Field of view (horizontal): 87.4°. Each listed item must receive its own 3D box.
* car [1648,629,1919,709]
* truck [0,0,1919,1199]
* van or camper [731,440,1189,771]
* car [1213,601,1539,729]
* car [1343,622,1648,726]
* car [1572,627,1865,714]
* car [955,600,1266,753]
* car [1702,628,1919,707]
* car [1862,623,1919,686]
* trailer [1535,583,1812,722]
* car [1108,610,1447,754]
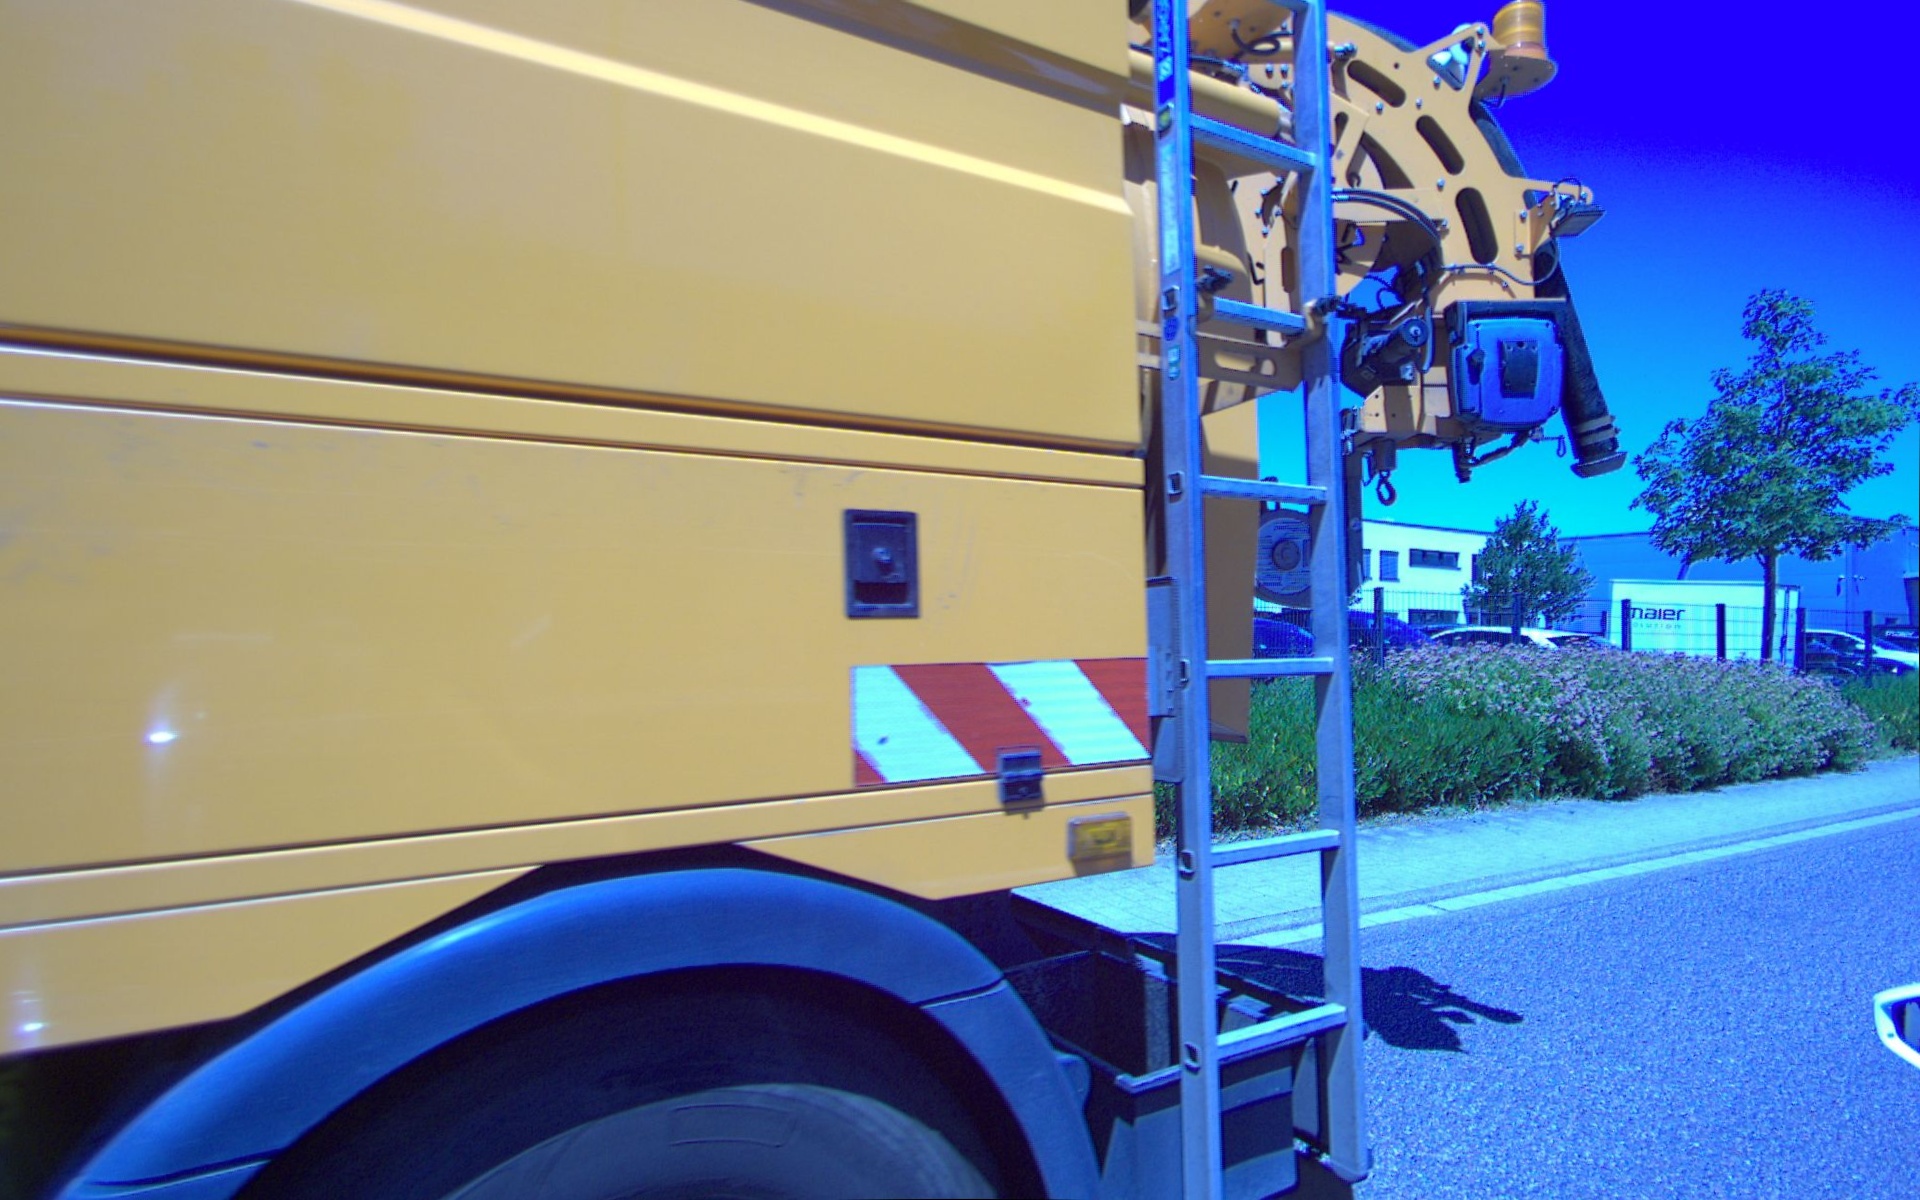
[{"bbox_3d":[18.684,1.466,22.785,1.975,1.556,4.714,2,-2,-28],"label":"car"},{"bbox_3d":[-2.493,-0.261,1.102,10.379,3.591,2.587,2,-3,-31],"label":"truck"},{"bbox_3d":[-0.533,0.152,11.854,2.543,2.719,6.750,2,-2,-28],"label":"van or camper"},{"bbox_3d":[6.245,0.905,15.601,1.759,1.688,4.481,2,-2,-34],"label":"car"},{"bbox_3d":[8.704,1.125,16.698,1.757,1.471,4.184,2,-2,-31],"label":"car"},{"bbox_3d":[15.734,1.393,21.123,1.975,1.556,4.529,2,-2,-28],"label":"car"},{"bbox_3d":[1.793,0.897,13.520,1.756,1.688,4.488,2,-2,-30],"label":"car"},{"bbox_3d":[20.869,1.544,23.975,1.975,1.650,4.714,2,-1,-28],"label":"car"},{"bbox_3d":[30.165,1.655,29.564,1.941,1.875,5.037,2,-1,-29],"label":"car"},{"bbox_3d":[13.589,0.900,19.361,1.707,2.391,3.966,2,0,-31],"label":"trailer"},{"bbox_3d":[4.266,1.016,14.220,1.758,1.688,4.482,2,-2,-33],"label":"car"}]
